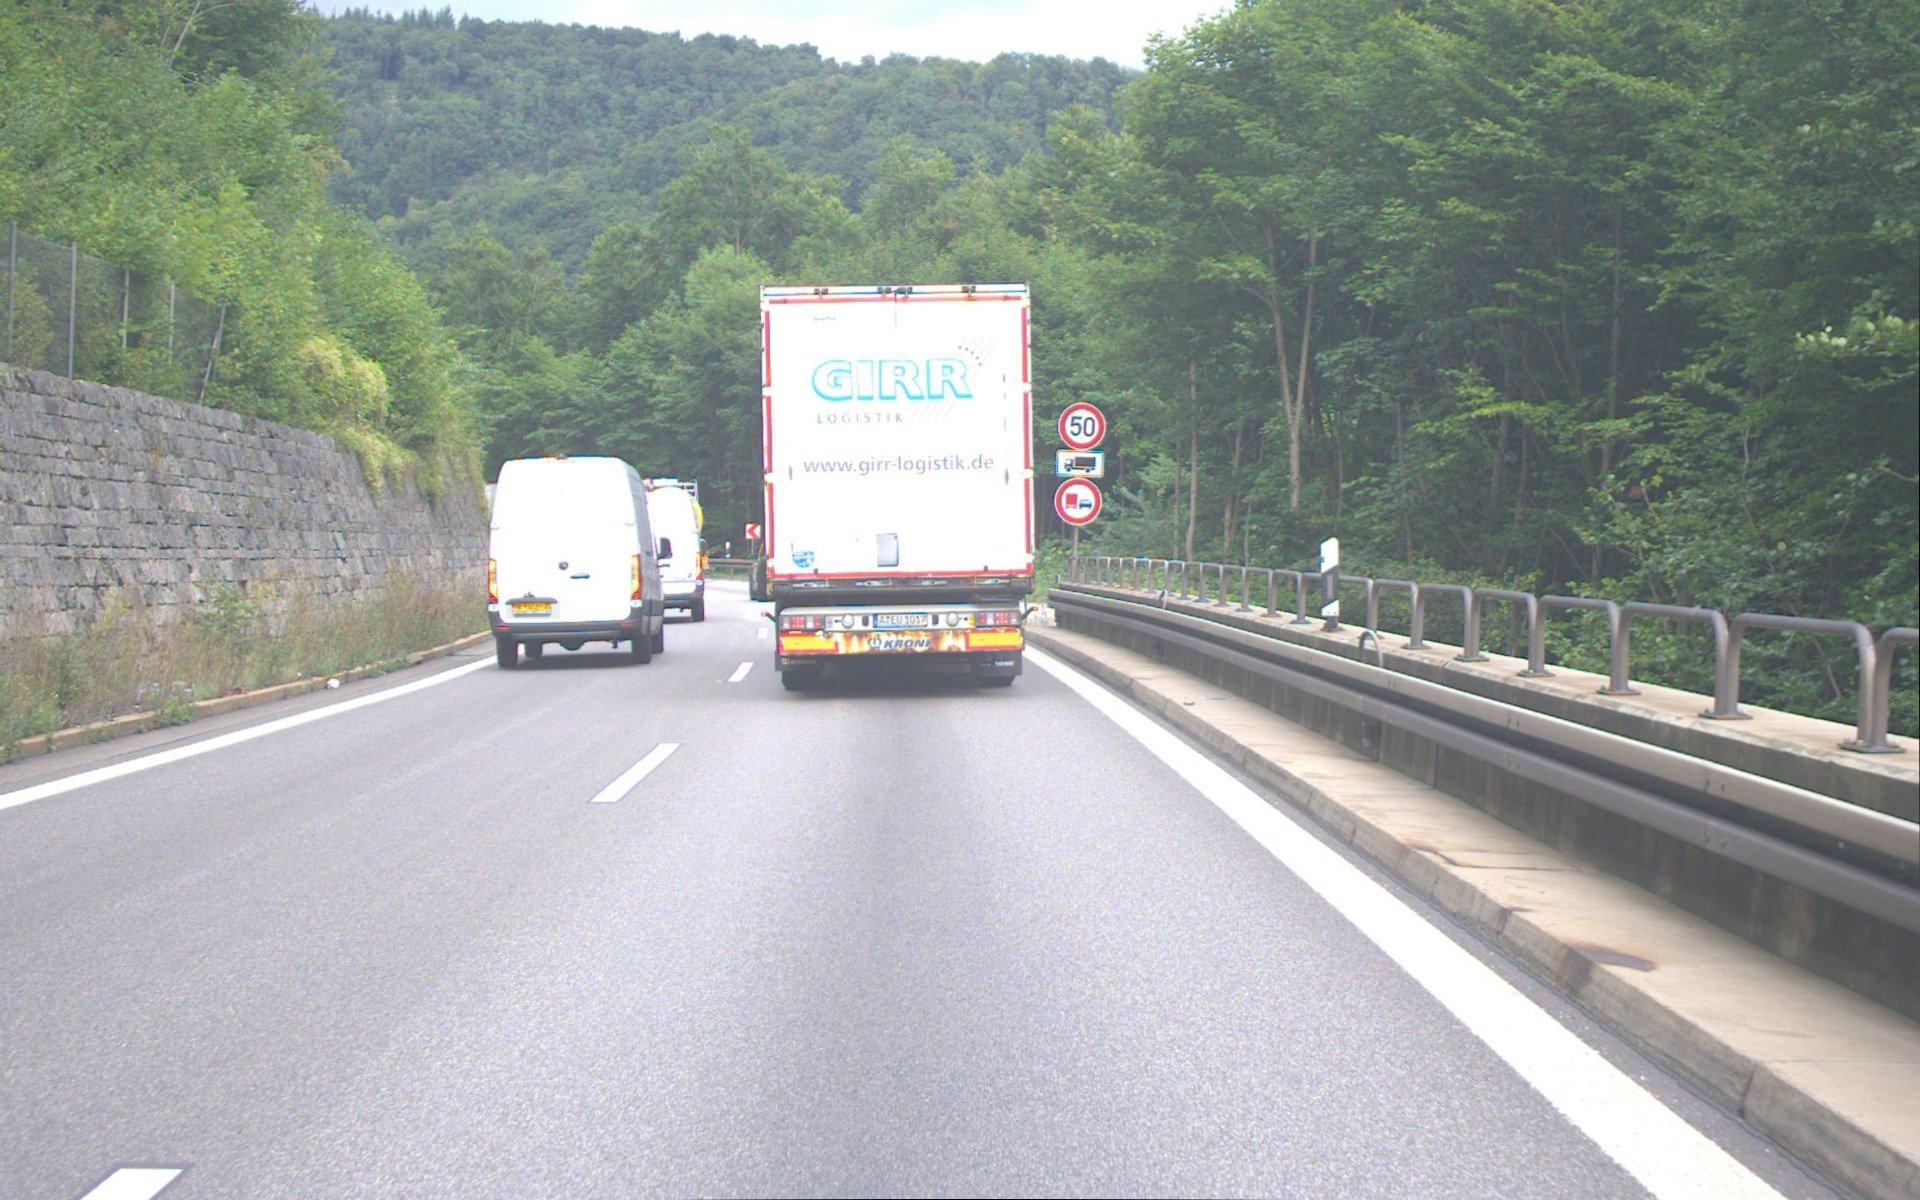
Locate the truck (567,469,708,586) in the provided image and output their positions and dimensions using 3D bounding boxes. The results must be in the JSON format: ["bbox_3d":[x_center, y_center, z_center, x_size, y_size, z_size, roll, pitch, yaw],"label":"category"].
[{"bbox_3d":[-12.014,-2.732,126.633,3.057,3.972,13.703,-2,2,-14],"label":"truck"}]

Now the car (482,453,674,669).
[{"bbox_3d":[-5.047,-0.548,46.281,1.989,2.663,6.937,1,1,-2],"label":"car"}]

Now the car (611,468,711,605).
[{"bbox_3d":[-6.169,-1.303,70.771,1.939,2.663,5.992,1,1,-5],"label":"car"}]

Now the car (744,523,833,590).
[{"bbox_3d":[-4.406,-1.125,87.918,1.993,1.656,4.001,1,1,-7],"label":"car"}]

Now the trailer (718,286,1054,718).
[{"bbox_3d":[-0.861,-1.146,38.255,3.057,3.972,12.138,1,2,-2],"label":"trailer"}]
